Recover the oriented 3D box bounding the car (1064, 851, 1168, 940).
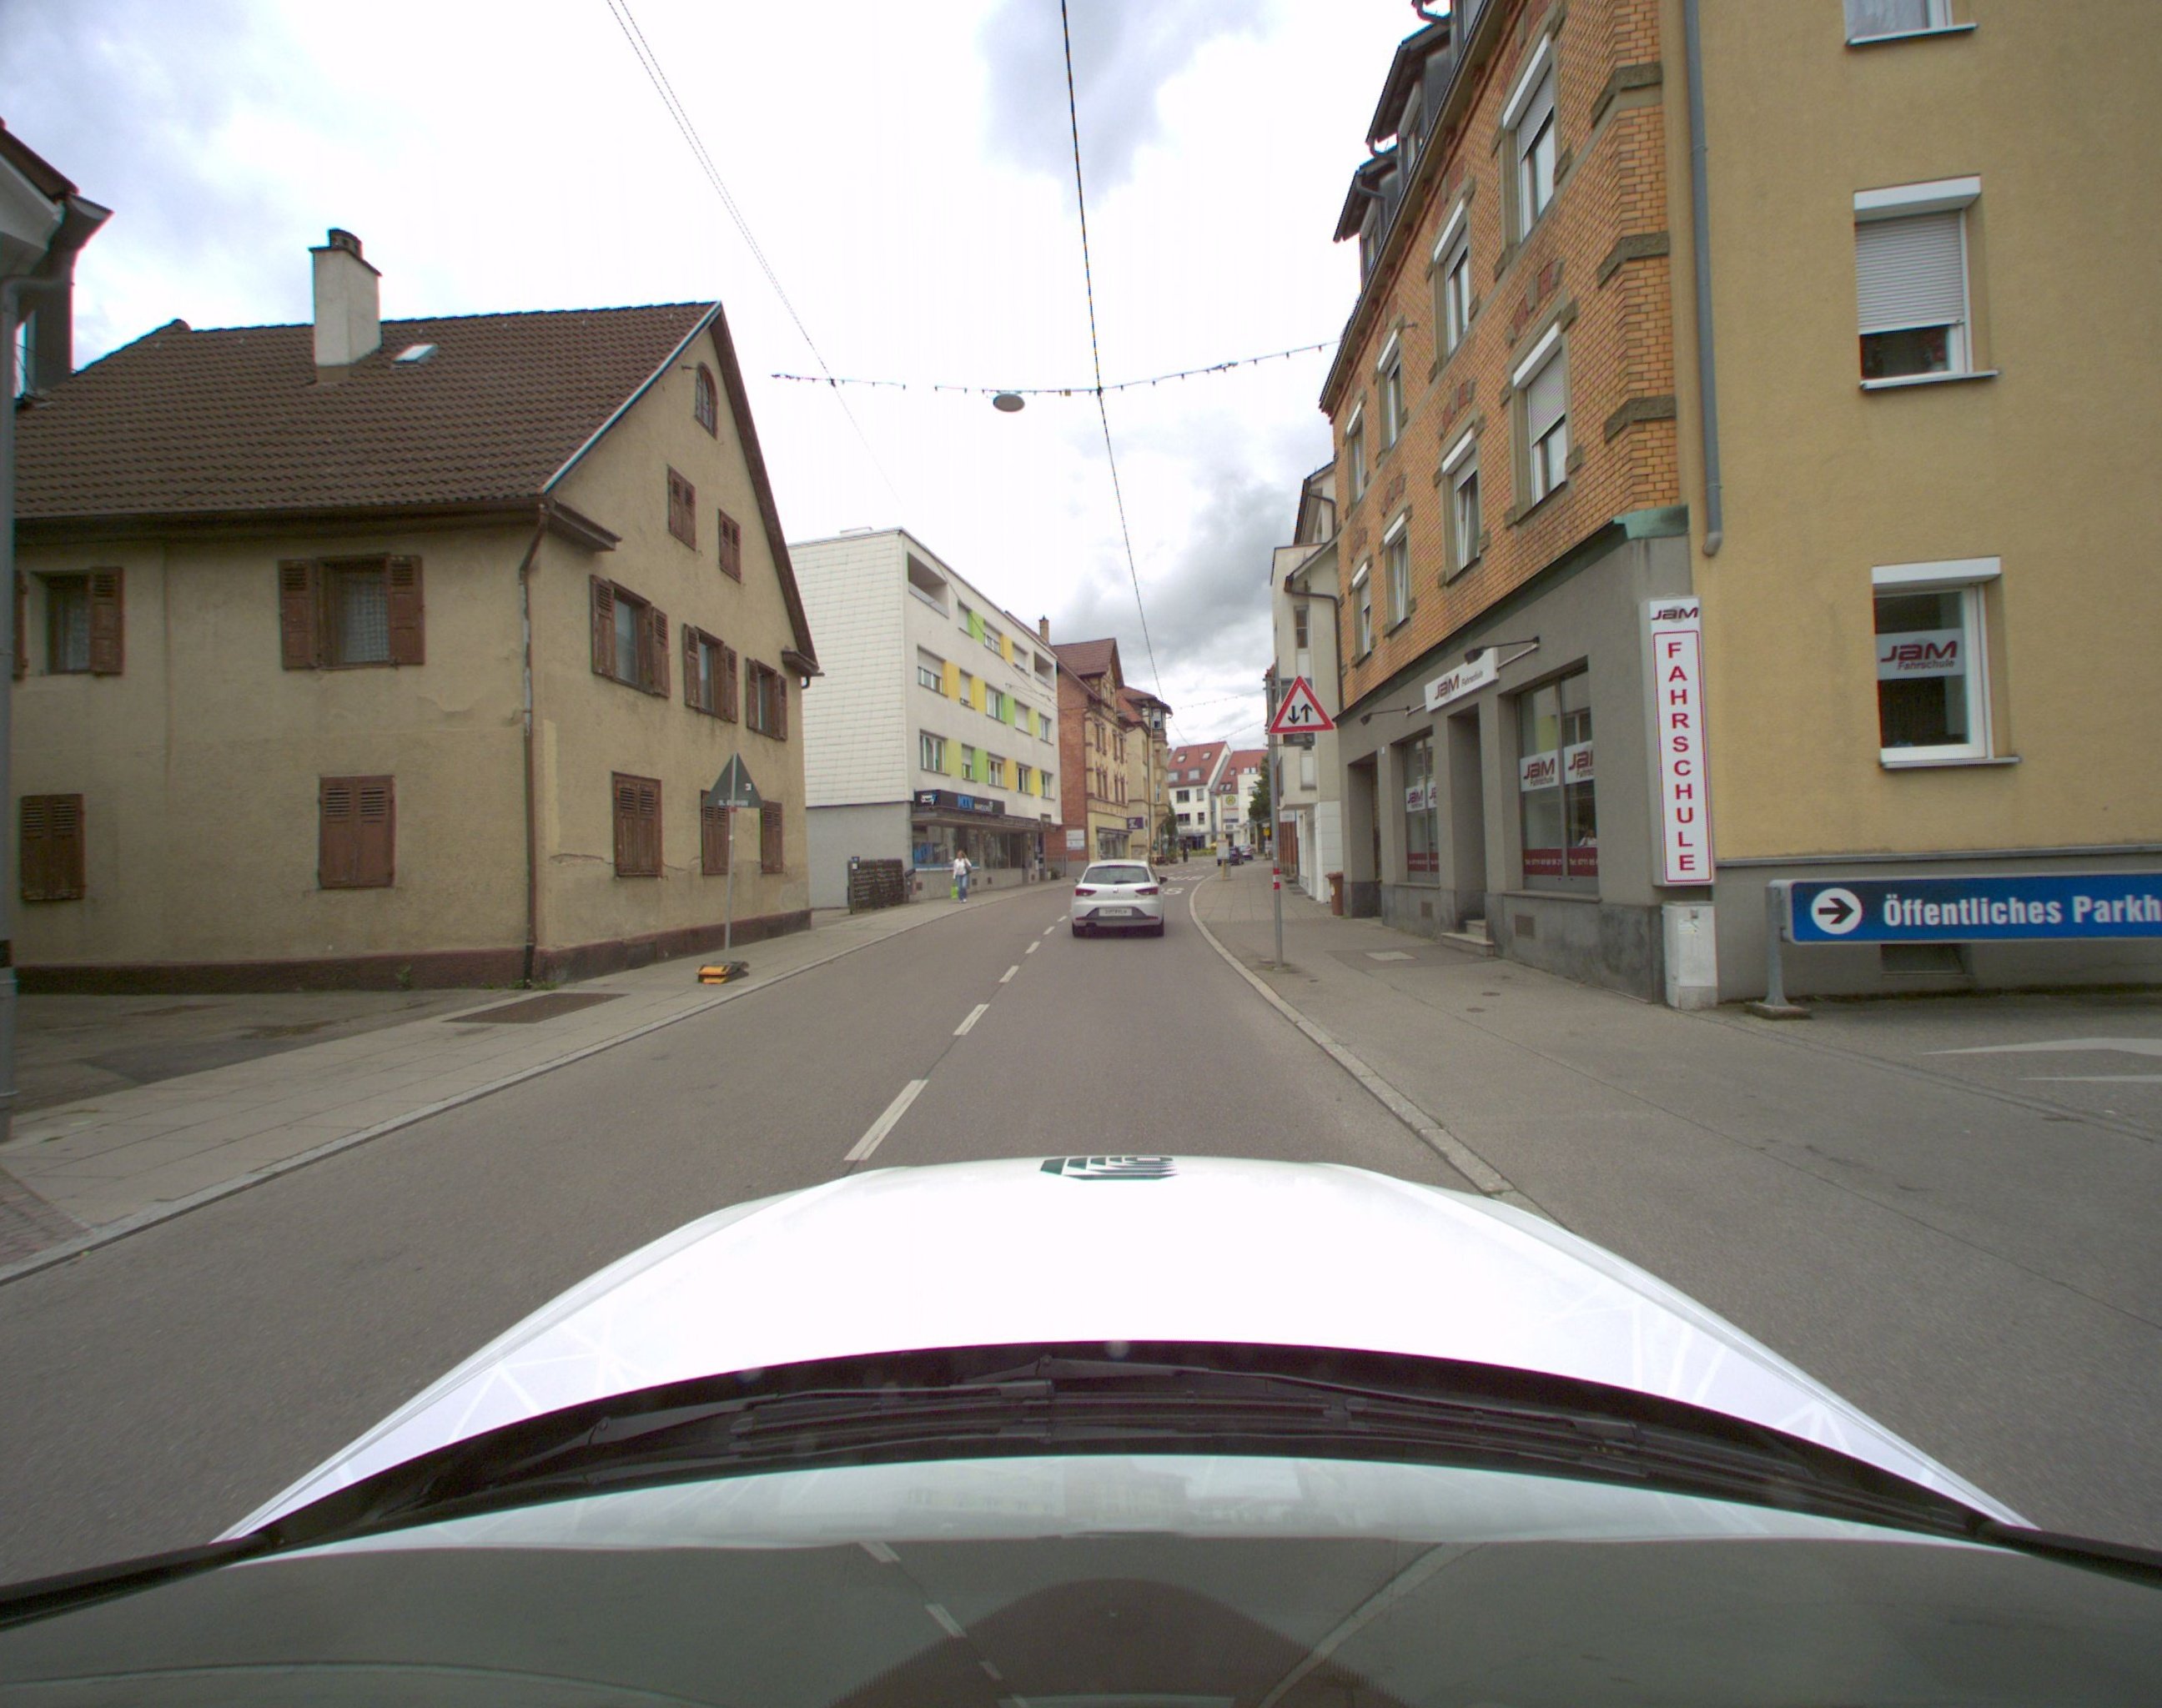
[{"bbox_3d":[0.797,0.741,16.549,1.803,1.480,3.876,-2,1,5],"label":"car"}]

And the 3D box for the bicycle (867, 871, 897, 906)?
[{"bbox_3d":[-6.473,1.104,26.552,0.321,1.053,1.752,-2,0,8],"label":"bicycle"}]

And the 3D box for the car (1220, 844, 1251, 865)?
[{"bbox_3d":[12.251,0.017,64.476,1.796,1.480,3.890,-2,1,19],"label":"car"}]

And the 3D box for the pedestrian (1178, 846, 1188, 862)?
[{"bbox_3d":[9.841,0.005,78.486,0.829,1.552,0.629,-2,0,8],"label":"pedestrian"}]

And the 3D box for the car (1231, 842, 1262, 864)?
[{"bbox_3d":[15.617,-0.121,76.688,1.976,2.013,4.022,-2,0,23],"label":"car"}]

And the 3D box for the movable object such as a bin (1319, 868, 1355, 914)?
[{"bbox_3d":[5.495,0.788,17.503,0.616,0.921,0.582,-2,0,7],"label":"movable object such as a bin"}]

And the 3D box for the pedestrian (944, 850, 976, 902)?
[{"bbox_3d":[-4.005,0.725,27.006,0.889,1.665,0.861,-2,0,0],"label":"pedestrian"}]
